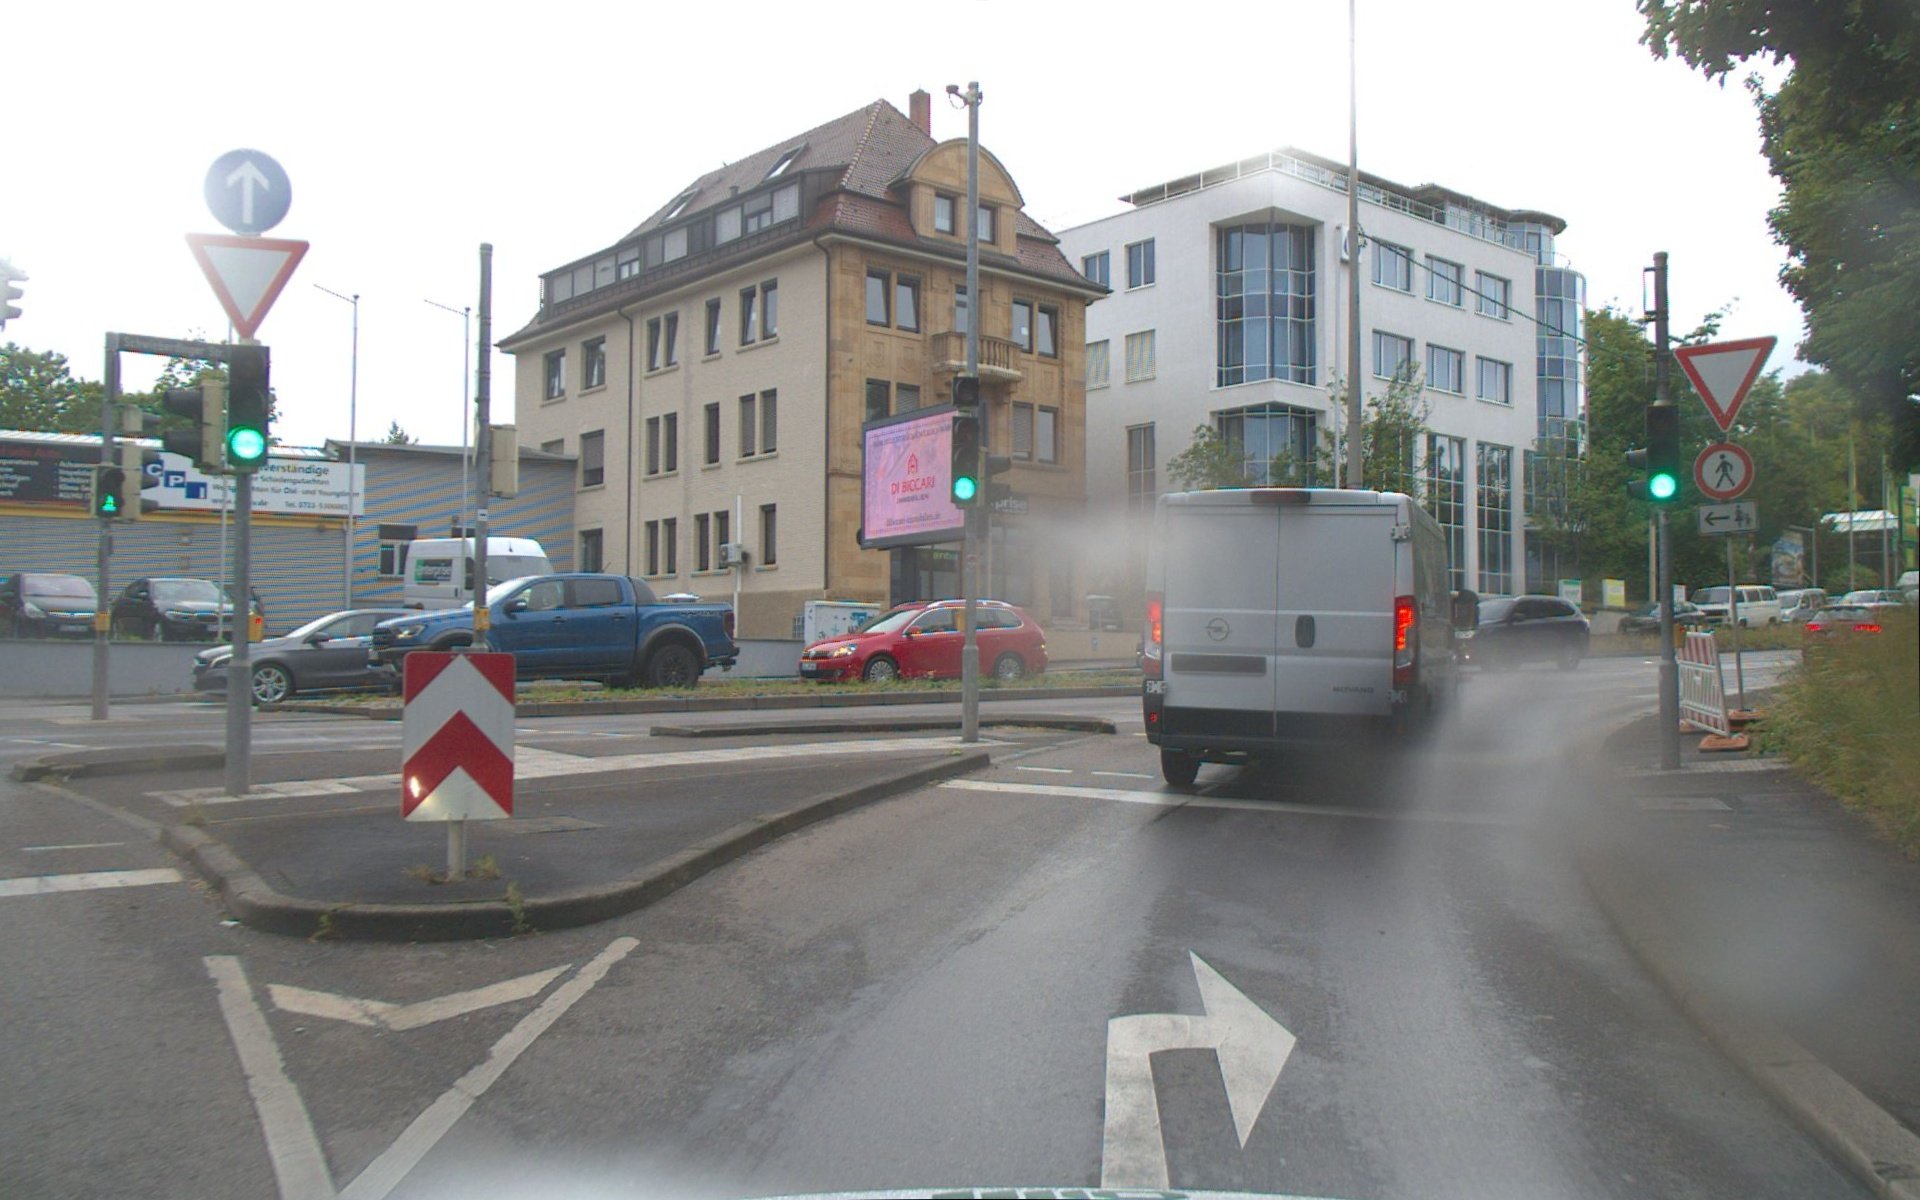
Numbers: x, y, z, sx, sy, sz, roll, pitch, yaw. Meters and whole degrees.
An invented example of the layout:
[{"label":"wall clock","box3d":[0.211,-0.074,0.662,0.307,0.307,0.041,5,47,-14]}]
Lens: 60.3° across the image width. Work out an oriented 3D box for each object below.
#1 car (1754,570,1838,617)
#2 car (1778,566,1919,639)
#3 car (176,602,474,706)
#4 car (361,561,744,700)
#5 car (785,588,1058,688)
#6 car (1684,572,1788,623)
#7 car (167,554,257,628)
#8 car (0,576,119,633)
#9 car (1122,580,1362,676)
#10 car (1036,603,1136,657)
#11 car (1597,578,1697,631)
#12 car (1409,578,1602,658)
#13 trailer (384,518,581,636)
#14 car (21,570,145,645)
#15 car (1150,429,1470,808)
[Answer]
[{"label":"car","box3d":[33.741,-0.256,66.751,3.744,1.725,1.575,-2,-1,-39]},{"label":"car","box3d":[19.139,0.085,35.332,3.330,1.451,1.677,2,-2,-36]},{"label":"car","box3d":[-9.678,0.848,25.357,4.026,1.484,1.527,2,-3,-37]},{"label":"car","box3d":[-5.890,0.433,24.215,5.111,1.850,1.915,0,-2,-36]},{"label":"car","box3d":[-0.605,0.685,27.769,4.393,1.558,1.788,2,-3,-37]},{"label":"car","box3d":[29.867,-0.116,63.611,4.539,1.776,1.751,-2,-1,-39]},{"label":"car","box3d":[-15.460,-0.187,34.137,1.213,1.449,2.653,1,0,-35]},{"label":"car","box3d":[-24.885,0.134,44.120,4.272,1.431,1.362,-1,-2,-26]},{"label":"car","box3d":[5.518,0.521,32.124,4.573,1.727,1.937,-1,-2,-36]},{"label":"car","box3d":[4.156,1.012,54.619,1.700,1.705,3.008,2,-4,-40]},{"label":"car","box3d":[24.810,0.159,59.722,3.954,1.752,1.593,-2,-1,-39]},{"label":"car","box3d":[12.087,0.447,36.524,4.676,1.633,1.672,2,-3,-37]},{"label":"trailer","box3d":[-11.901,-0.446,40.774,2.369,2.471,7.026,2,-3,-36]},{"label":"car","box3d":[-17.342,0.137,32.636,1.722,1.392,3.578,1,0,-35]},{"label":"car","box3d":[3.127,0.072,13.863,2.007,2.560,4.945,2,1,19]}]
